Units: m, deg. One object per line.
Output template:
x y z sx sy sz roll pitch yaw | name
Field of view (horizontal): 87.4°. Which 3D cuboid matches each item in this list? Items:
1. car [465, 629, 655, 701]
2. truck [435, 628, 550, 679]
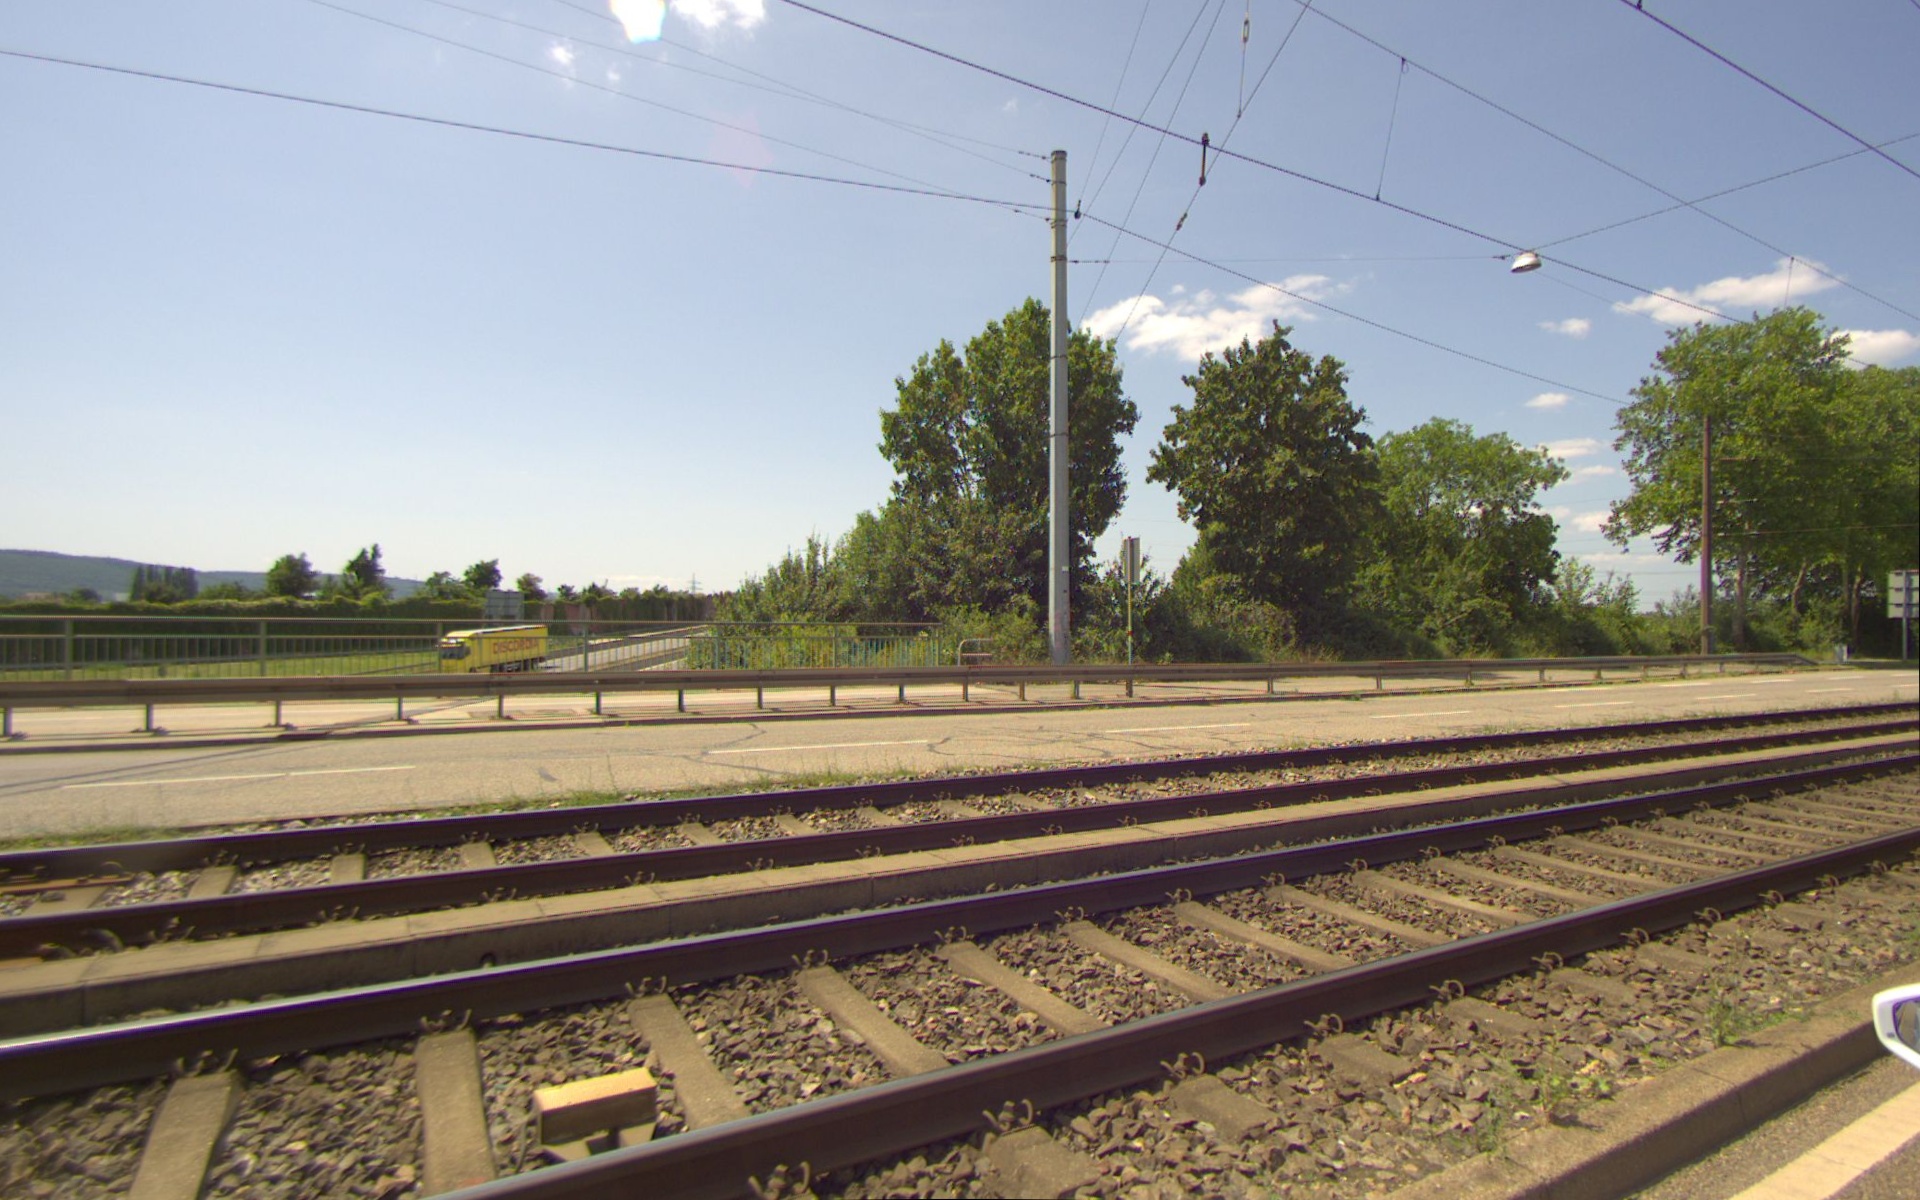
-32.386 5.035 83.947 4.919 4.547 22.468 1 0 6 | car
-42.483 4.730 92.301 2.588 3.811 16.554 1 0 1 | truck
